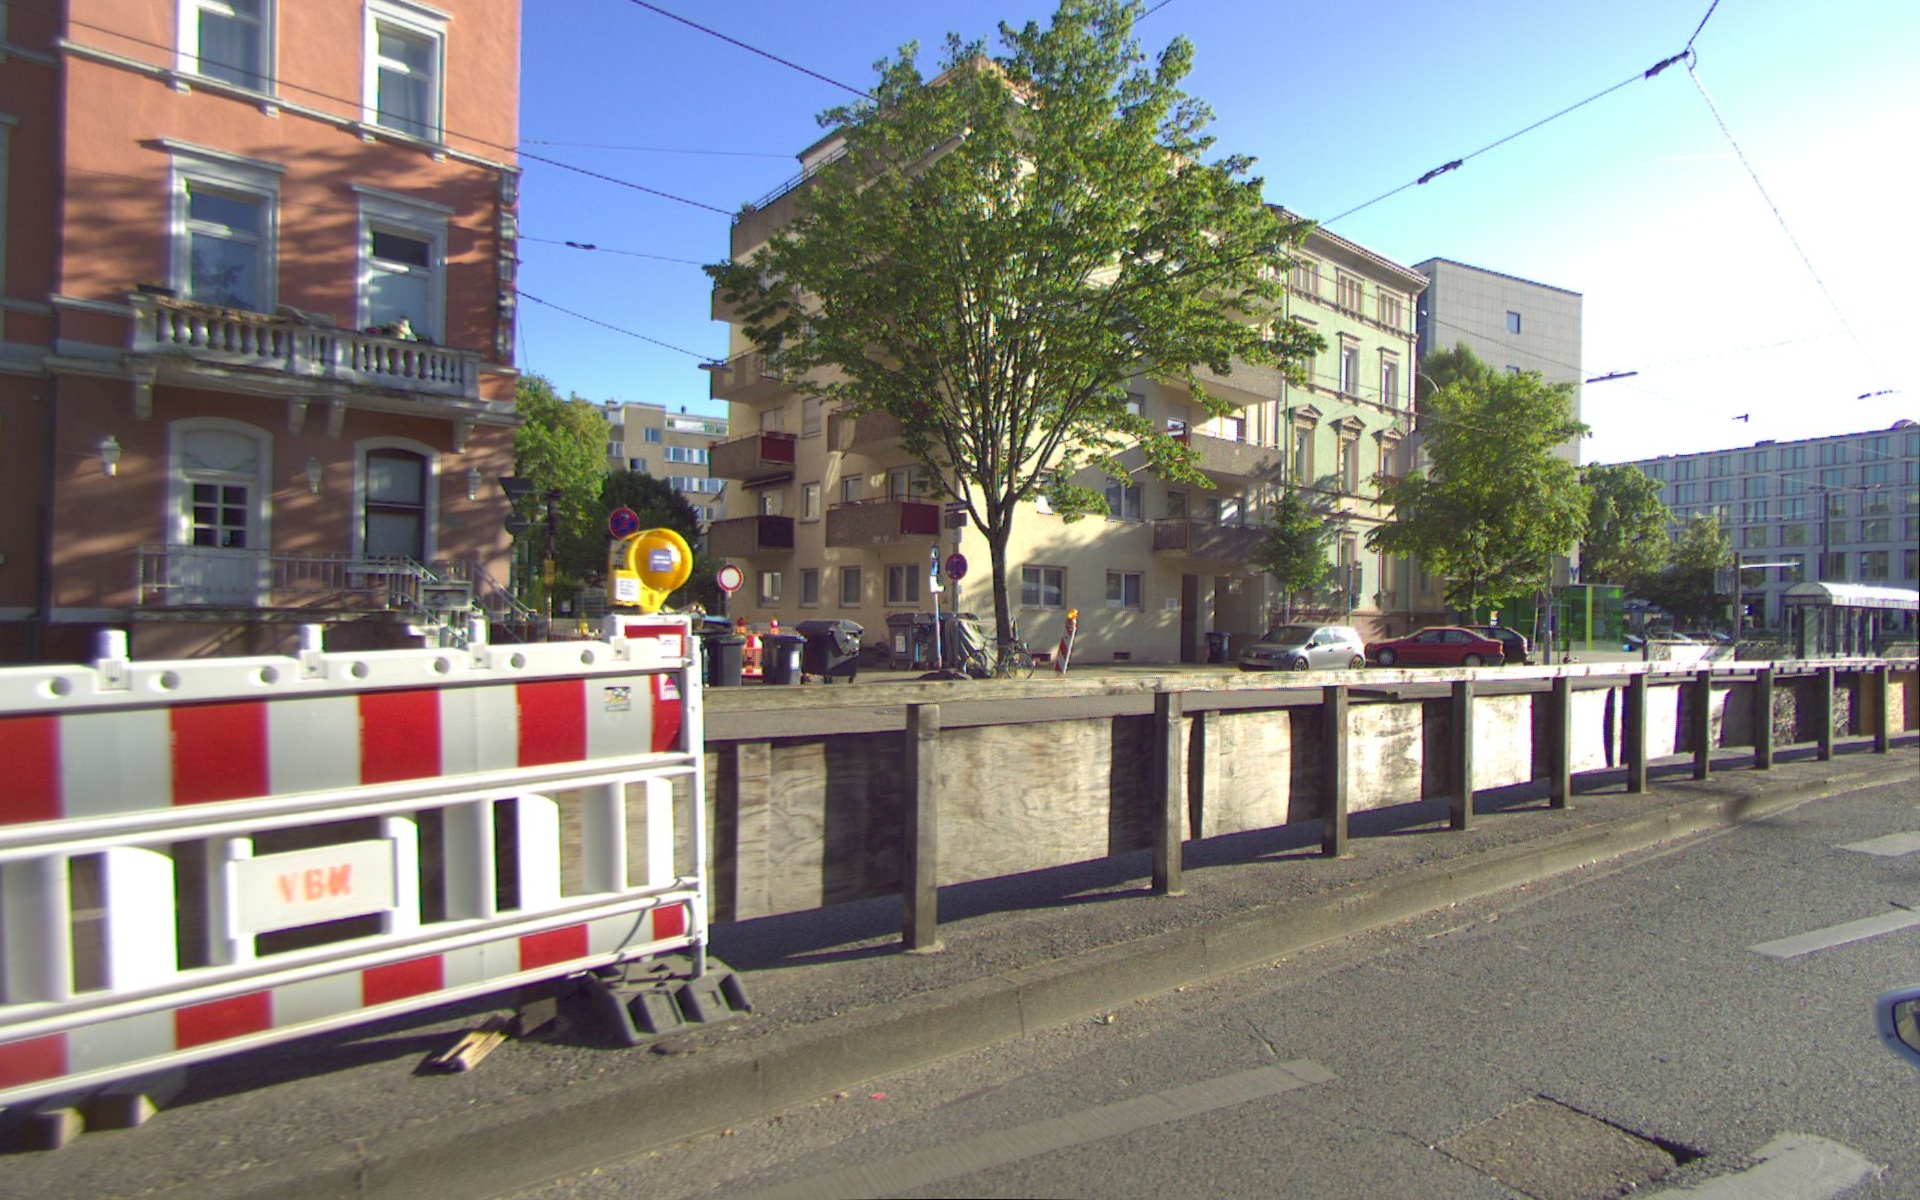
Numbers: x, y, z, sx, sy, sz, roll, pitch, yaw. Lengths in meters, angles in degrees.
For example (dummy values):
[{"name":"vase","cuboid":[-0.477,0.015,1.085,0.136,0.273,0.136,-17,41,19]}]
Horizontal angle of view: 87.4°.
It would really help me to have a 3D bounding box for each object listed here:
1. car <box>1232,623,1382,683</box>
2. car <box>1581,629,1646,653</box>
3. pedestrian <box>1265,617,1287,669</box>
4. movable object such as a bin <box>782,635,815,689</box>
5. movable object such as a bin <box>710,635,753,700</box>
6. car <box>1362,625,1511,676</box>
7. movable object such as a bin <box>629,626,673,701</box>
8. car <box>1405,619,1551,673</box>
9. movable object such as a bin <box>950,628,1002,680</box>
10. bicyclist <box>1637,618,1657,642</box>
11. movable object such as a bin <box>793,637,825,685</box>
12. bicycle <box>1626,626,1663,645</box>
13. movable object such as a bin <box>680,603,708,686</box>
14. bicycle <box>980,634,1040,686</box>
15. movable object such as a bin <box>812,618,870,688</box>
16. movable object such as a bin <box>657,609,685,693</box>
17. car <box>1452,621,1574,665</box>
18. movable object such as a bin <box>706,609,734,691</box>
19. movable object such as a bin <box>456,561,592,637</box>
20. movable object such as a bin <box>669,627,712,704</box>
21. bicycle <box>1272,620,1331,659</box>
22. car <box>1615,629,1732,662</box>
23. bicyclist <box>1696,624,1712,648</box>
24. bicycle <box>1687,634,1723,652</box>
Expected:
[{"name":"car","cuboid":[9.526,1.417,27.439,4.250,1.429,1.694,2,1,-35]},{"name":"car","cuboid":[45.046,2.815,69.314,1.503,1.526,3.516,1,-1,-28]},{"name":"pedestrian","cuboid":[10.528,1.425,33.492,0.485,1.693,0.508,1,-1,-33]},{"name":"movable object such as a bin","cuboid":[-3.417,1.312,21.293,0.547,1.111,0.377,3,-2,-33]},{"name":"movable object such as a bin","cuboid":[-3.943,1.157,17.304,0.631,1.082,0.378,1,-1,-27]},{"name":"car","cuboid":[16.182,1.686,34.367,4.428,1.444,1.873,2,-1,22]},{"name":"movable object such as a bin","cuboid":[-5.116,1.038,16.624,0.631,1.219,0.378,1,-1,-27]},{"name":"car","cuboid":[18.471,1.625,36.020,4.426,1.663,1.590,2,-1,19]},{"name":"movable object such as a bin","cuboid":[0.362,1.230,22.966,1.135,1.141,0.423,2,-1,-34]},{"name":"bicyclist","cuboid":[48.495,2.118,70.889,0.832,1.717,0.888,1,-1,-21]},{"name":"movable object such as a bin","cuboid":[-3.331,1.344,22.156,0.547,1.047,0.444,3,-2,-33]},{"name":"bicycle","cuboid":[48.390,2.500,71.000,0.873,1.305,2.045,1,-1,-20]},{"name":"movable object such as a bin","cuboid":[-4.682,0.779,17.703,0.381,1.445,0.378,1,-1,-27]},{"name":"bicycle","cuboid":[1.114,1.321,22.212,1.387,1.131,0.263,1,-1,-28]},{"name":"movable object such as a bin","cuboid":[-2.592,1.165,21.956,1.135,1.477,0.423,3,-2,-34]},{"name":"movable object such as a bin","cuboid":[-5.043,0.880,17.516,0.383,1.445,0.378,1,-1,-27]},{"name":"car","cuboid":[23.486,1.795,42.697,4.437,1.590,1.587,2,-1,32]},{"name":"movable object such as a bin","cuboid":[-4.304,0.895,17.989,0.383,1.445,0.378,1,-1,-27]},{"name":"movable object such as a bin","cuboid":[-19.215,0.020,44.220,5.195,2.968,3.928,2,-2,-27]},{"name":"movable object such as a bin","cuboid":[-4.558,1.099,16.980,0.631,1.258,0.378,1,-1,-27]},{"name":"bicycle","cuboid":[12.925,1.483,37.930,2.987,1.416,0.710,2,-1,-41]},{"name":"car","cuboid":[34.346,2.179,48.495,4.437,1.368,1.587,2,-1,32]},{"name":"bicyclist","cuboid":[49.863,2.392,67.301,0.584,1.603,0.618,1,-1,-15]},{"name":"bicycle","cuboid":[49.862,2.857,67.252,0.777,1.137,1.924,1,-1,-15]}]
